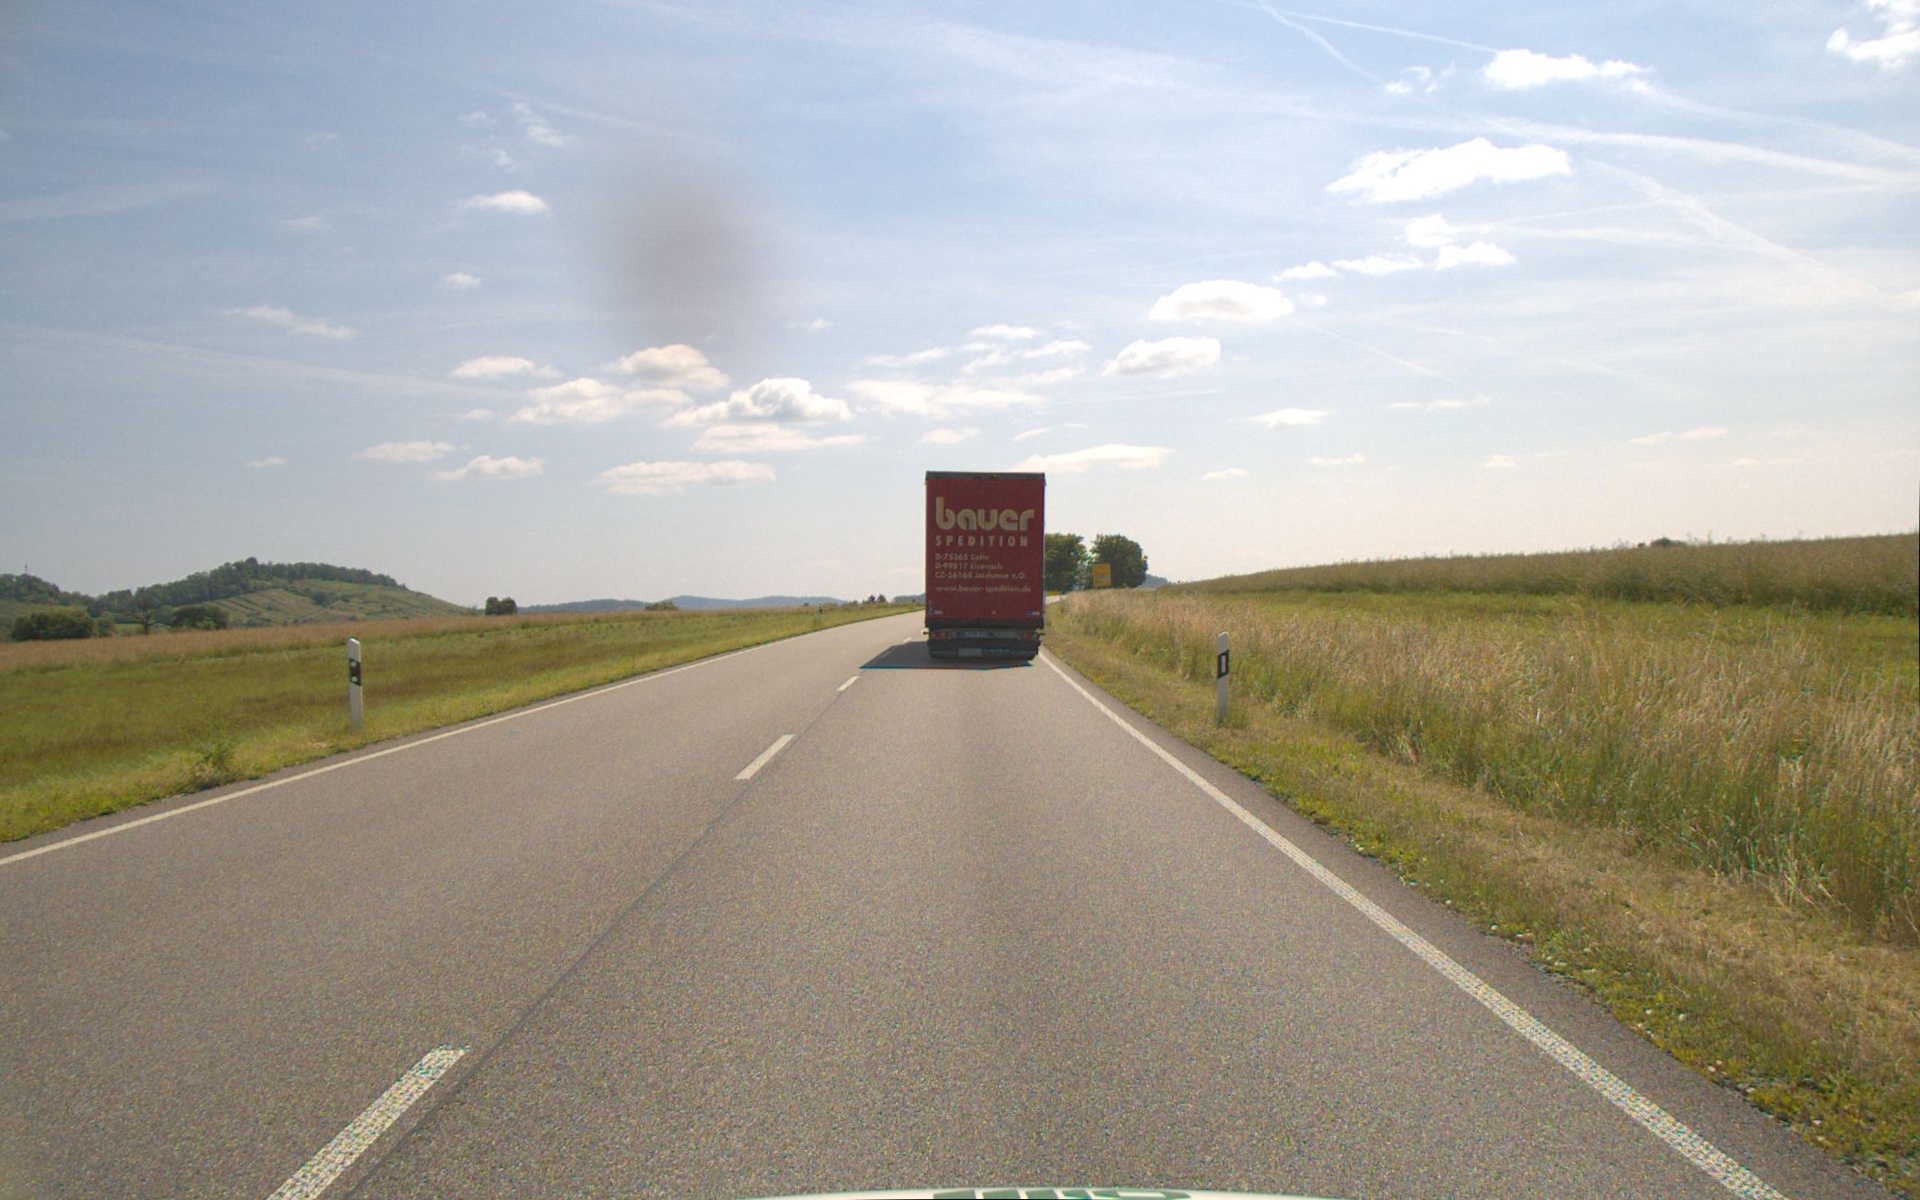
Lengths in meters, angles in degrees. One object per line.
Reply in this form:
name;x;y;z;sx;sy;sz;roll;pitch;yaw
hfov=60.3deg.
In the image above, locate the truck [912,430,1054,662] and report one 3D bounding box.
truck;0.574;-1.167;38.805;2.914;4.795;9.368;0;1;1
